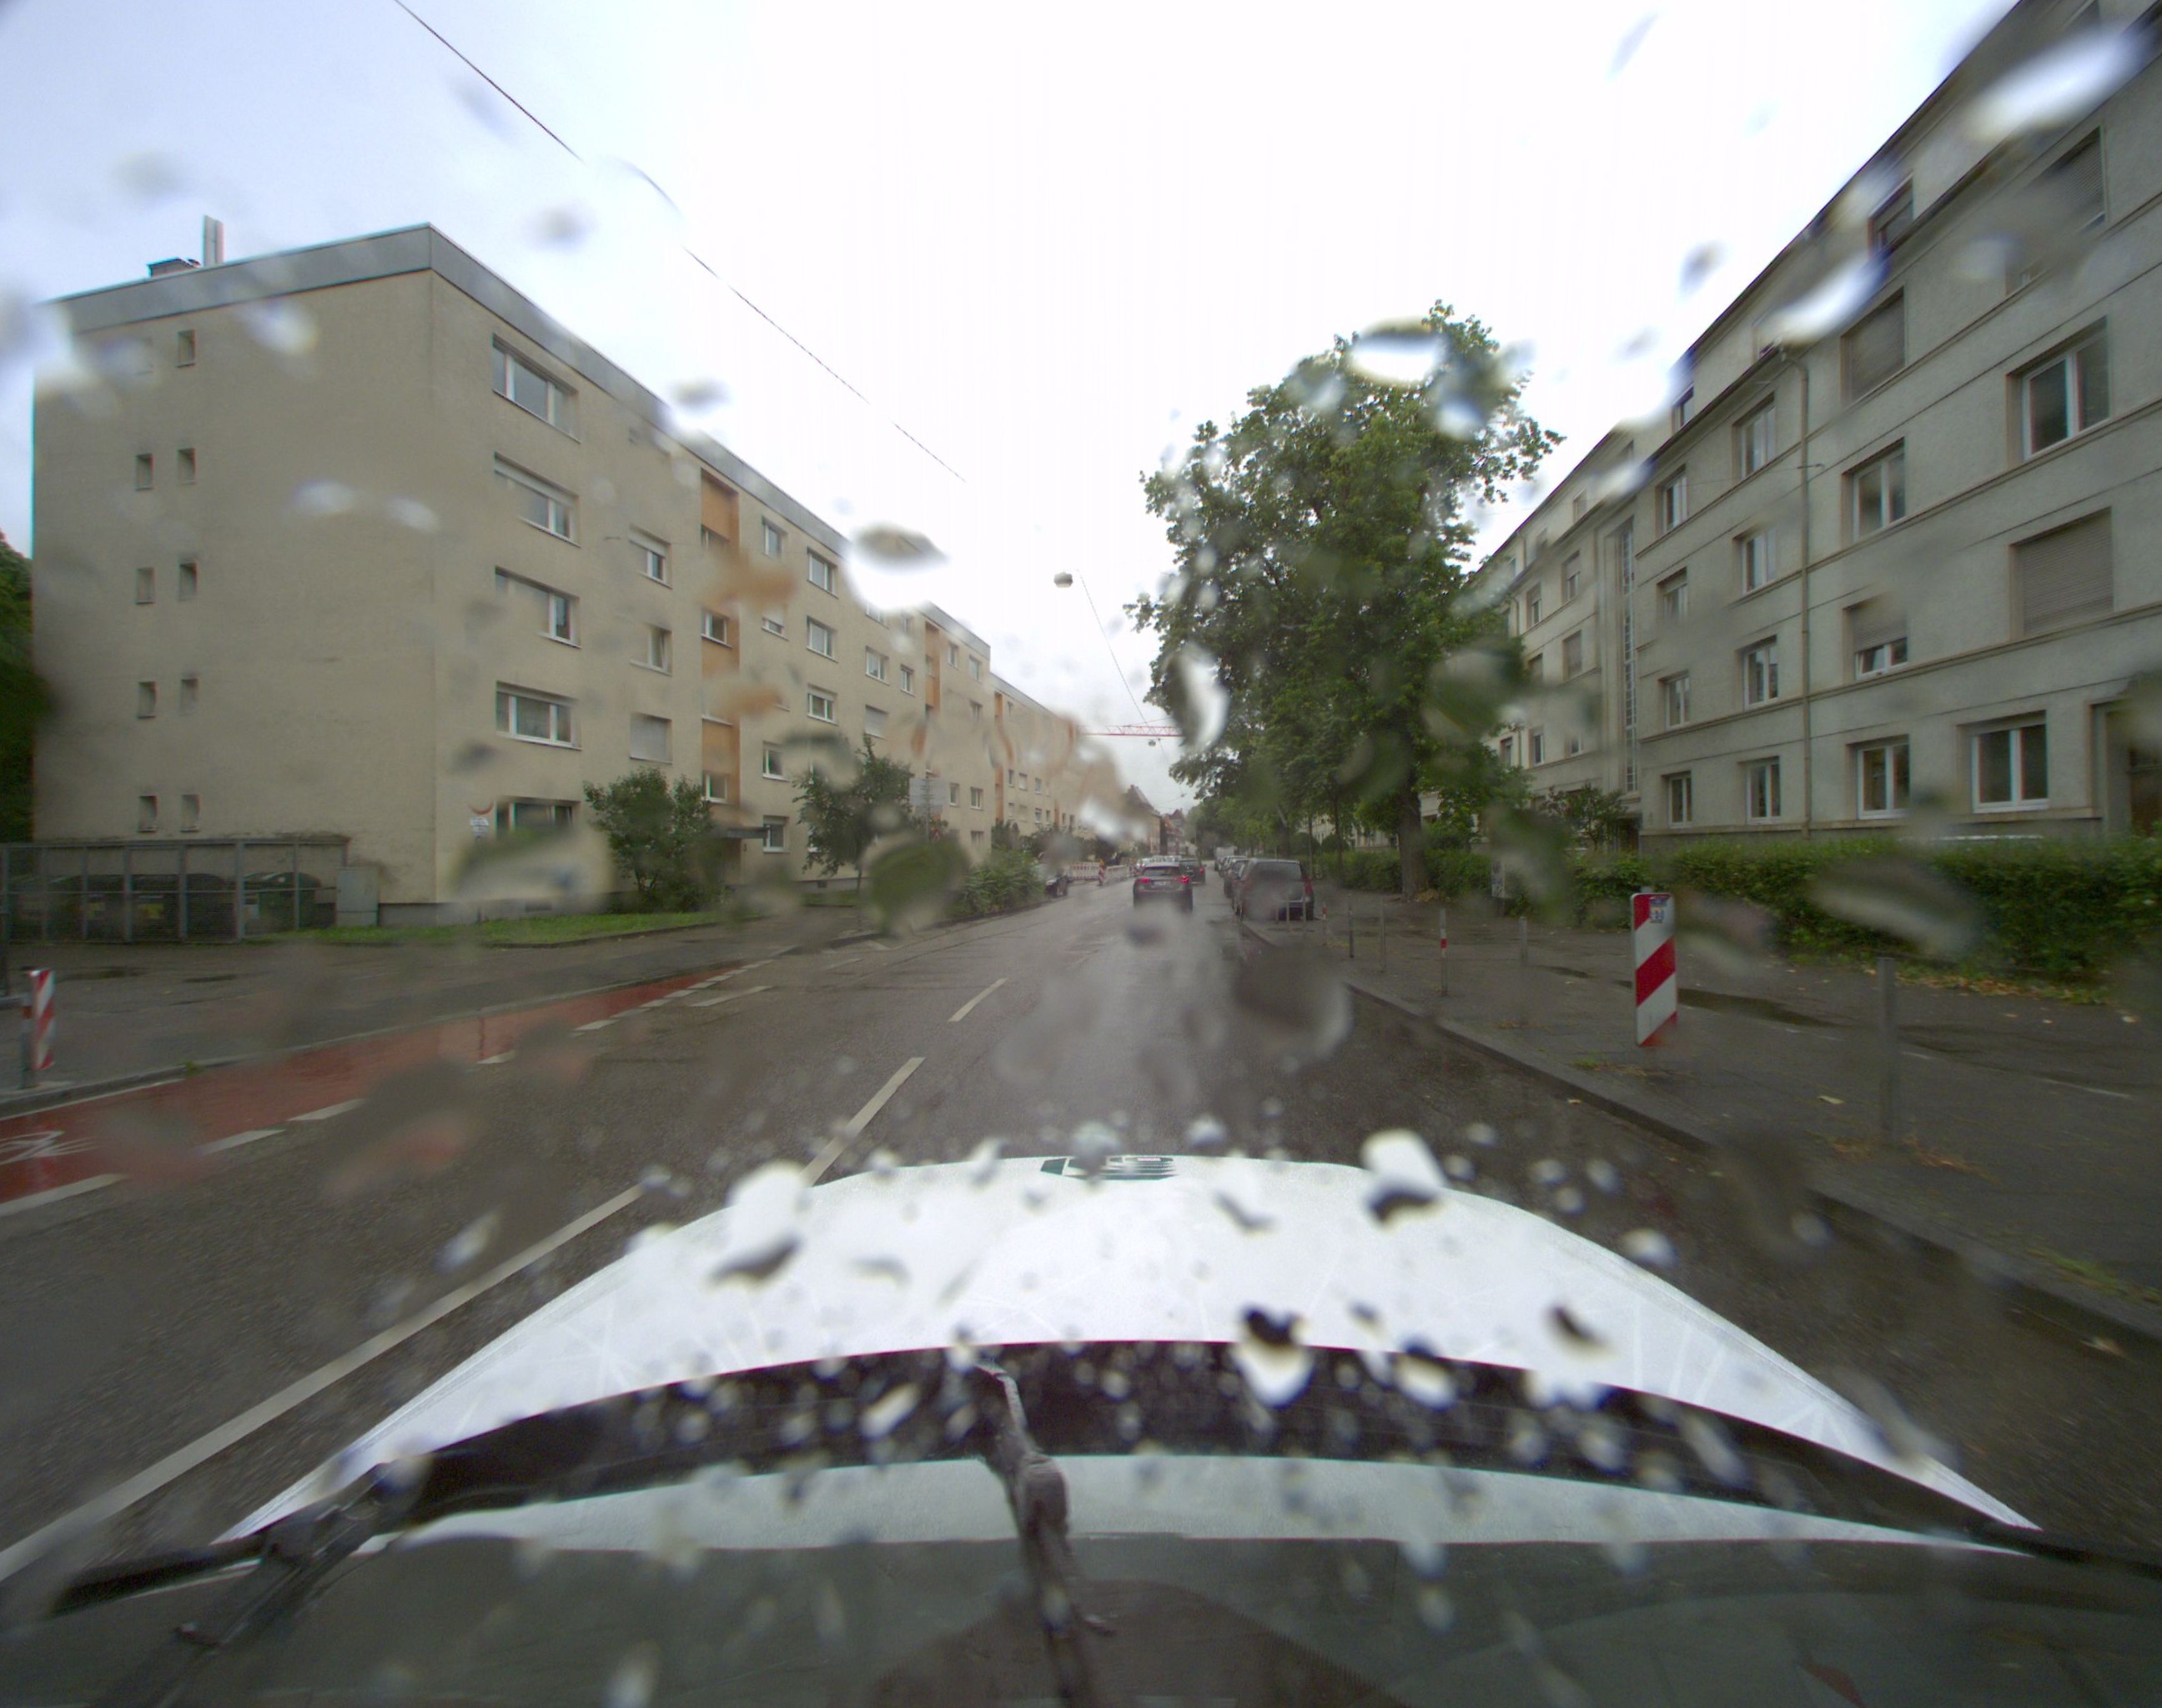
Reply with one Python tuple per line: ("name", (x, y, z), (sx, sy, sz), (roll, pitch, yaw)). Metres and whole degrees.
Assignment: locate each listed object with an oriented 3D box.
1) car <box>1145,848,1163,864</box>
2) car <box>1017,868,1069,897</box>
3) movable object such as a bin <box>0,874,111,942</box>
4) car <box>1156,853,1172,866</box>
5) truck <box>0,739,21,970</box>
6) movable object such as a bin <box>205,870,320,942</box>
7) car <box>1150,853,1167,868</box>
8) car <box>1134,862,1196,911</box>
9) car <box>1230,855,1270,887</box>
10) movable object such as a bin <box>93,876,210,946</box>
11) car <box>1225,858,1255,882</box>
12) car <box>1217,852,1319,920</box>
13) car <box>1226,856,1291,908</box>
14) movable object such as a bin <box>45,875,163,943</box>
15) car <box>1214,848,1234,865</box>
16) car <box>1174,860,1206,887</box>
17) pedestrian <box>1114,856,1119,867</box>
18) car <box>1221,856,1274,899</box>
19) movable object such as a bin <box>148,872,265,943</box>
("car", (8.722, 0.270, 96.817), (1.878, 1.836, 4.010), (-1, -1, 9))
("car", (-1.645, 1.248, 36.559), (1.580, 1.206, 3.469), (-1, -1, 10))
("movable object such as a bin", (-23.722, 1.222, 18.789), (1.321, 1.475, 1.205), (-1, -1, 10))
("car", (11.610, 0.757, 113.529), (1.878, 1.836, 4.010), (-1, -1, 9))
("truck", (-19.990, 0.047, 12.418), (5.648, 3.645, 2.181), (-1, -1, 9))
("movable object such as a bin", (-17.670, 1.097, 17.621), (1.321, 1.475, 1.205), (-1, -1, 10))
("car", (9.882, 0.779, 103.165), (1.878, 1.836, 4.010), (-1, -1, 9))
("car", (2.606, 0.961, 25.568), (1.782, 1.372, 3.512), (1, 0, 5))
("car", (8.836, 0.850, 42.900), (1.878, 1.574, 4.010), (-1, -1, 9))
("movable object such as a bin", (-20.775, 1.251, 18.228), (1.321, 1.475, 1.205), (-1, -1, 10))
("car", (10.857, 1.083, 55.751), (1.878, 1.574, 4.010), (-1, -1, 9))
("car", (4.721, 0.772, 21.105), (1.984, 1.574, 4.004), (-1, -1, 4))
("car", (5.816, 0.879, 27.073), (1.878, 1.574, 4.010), (-1, -1, 9))
("movable object such as a bin", (-22.250, 1.237, 18.579), (1.321, 1.475, 1.205), (-1, -1, 10))
("car", (15.542, 0.298, 88.763), (2.034, 1.836, 4.804), (-1, -1, 9))
("car", (5.992, 1.050, 45.070), (1.599, 1.372, 4.006), (-2, 0, 5))
("pedestrian", (4.483, 0.965, 101.800), (0.525, 1.357, 0.587), (0, -1, 13))
("car", (6.596, 0.894, 32.565), (1.878, 1.574, 4.010), (-1, -1, 9))
("movable object such as a bin", (-19.196, 1.161, 17.910), (1.321, 1.475, 1.205), (-1, -1, 10))
